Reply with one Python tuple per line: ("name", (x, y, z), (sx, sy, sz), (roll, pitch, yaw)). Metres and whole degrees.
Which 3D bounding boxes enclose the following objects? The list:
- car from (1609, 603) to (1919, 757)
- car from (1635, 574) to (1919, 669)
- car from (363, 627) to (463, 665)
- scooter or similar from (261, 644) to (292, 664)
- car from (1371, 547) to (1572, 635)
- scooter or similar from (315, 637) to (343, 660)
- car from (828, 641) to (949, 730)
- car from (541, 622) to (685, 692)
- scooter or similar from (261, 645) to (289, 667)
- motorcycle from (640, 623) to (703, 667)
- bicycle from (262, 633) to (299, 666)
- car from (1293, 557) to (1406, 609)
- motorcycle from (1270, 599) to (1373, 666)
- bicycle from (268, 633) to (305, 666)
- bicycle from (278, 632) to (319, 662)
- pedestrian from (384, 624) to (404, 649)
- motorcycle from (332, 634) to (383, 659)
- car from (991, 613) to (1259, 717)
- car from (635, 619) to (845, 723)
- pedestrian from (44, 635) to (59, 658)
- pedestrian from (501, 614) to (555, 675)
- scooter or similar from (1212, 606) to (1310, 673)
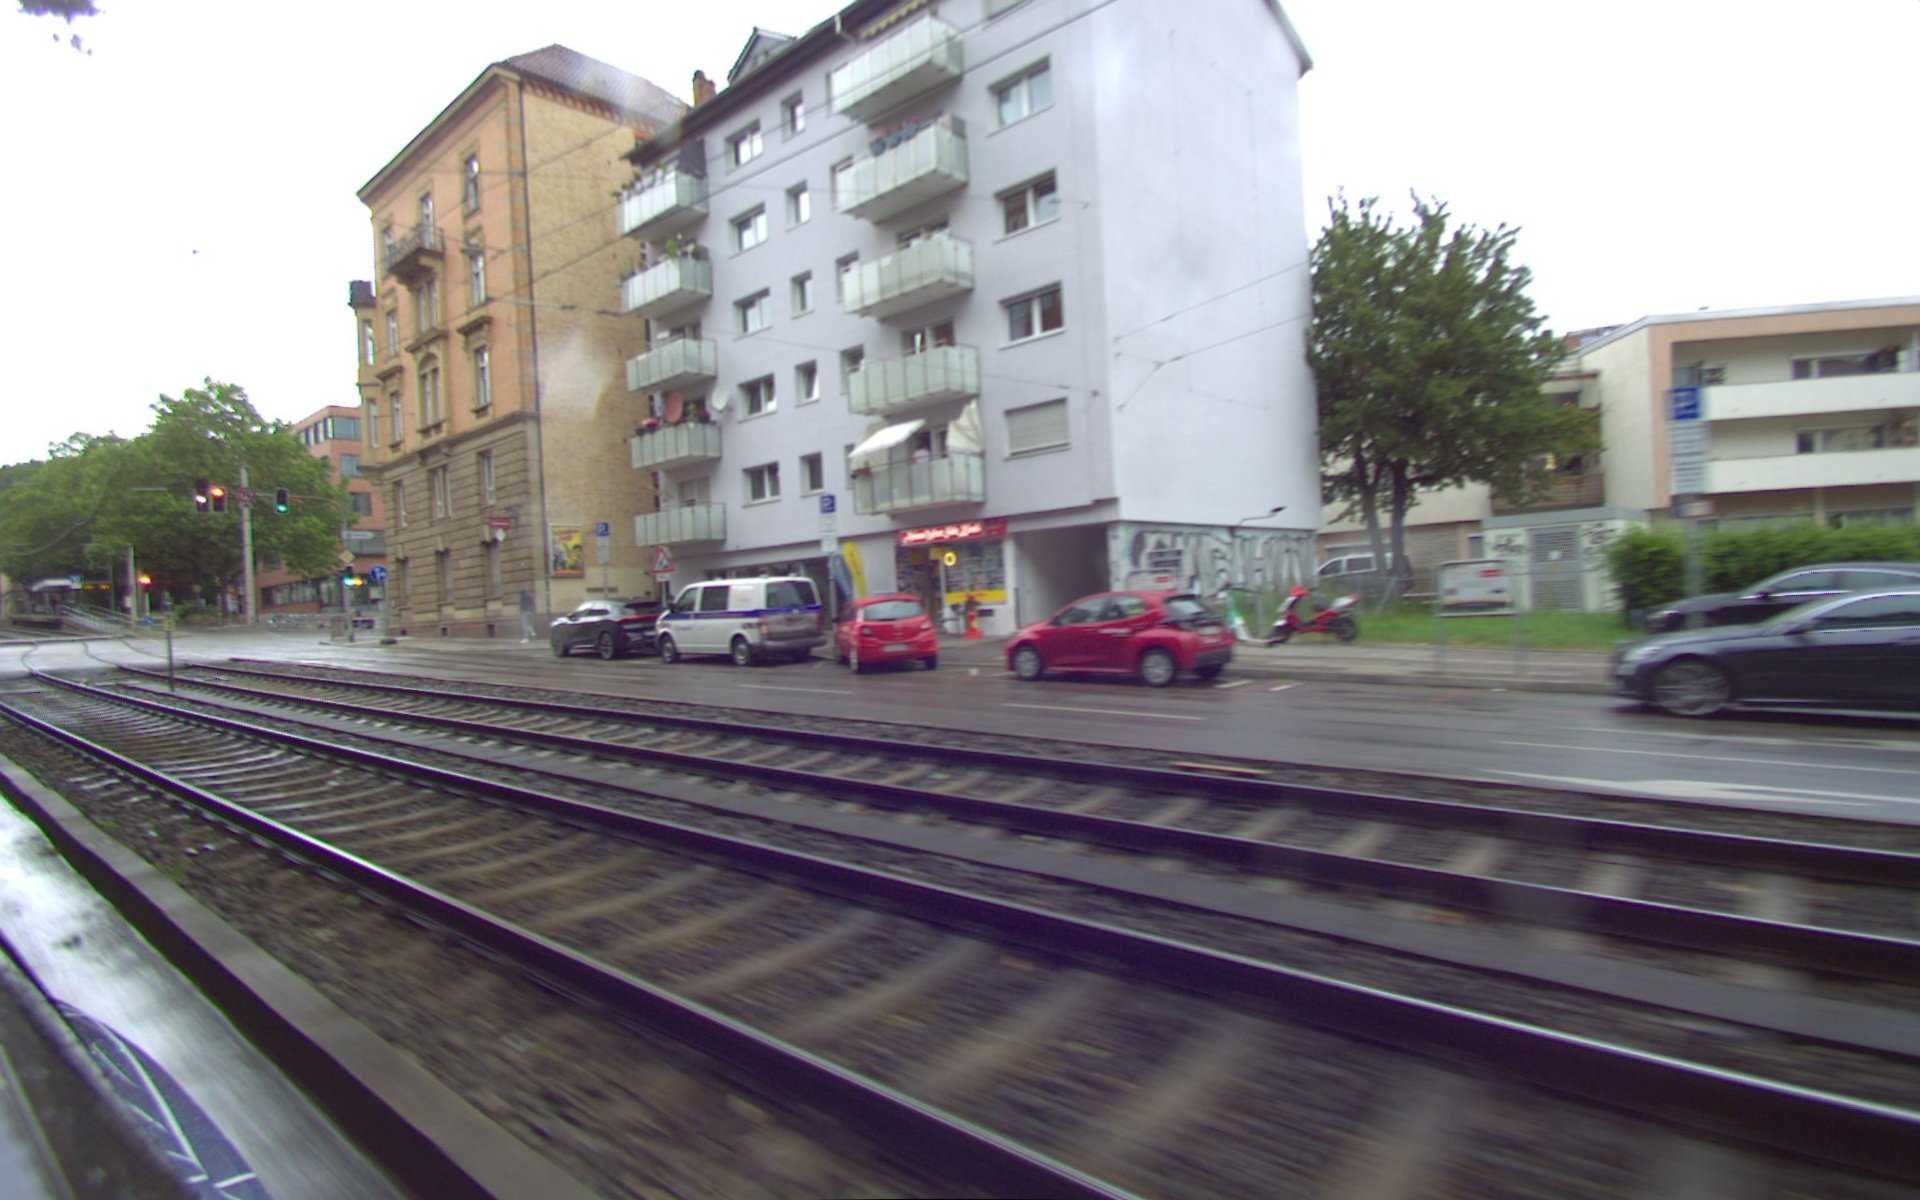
("car", (9.474, 0.764, 10.293), (4.619, 1.406, 1.662), (-3, 0, 41))
("car", (13.432, 0.340, 15.773), (1.848, 1.313, 4.483), (-3, -1, -41))
("car", (-25.968, 2.175, 48.150), (1.774, 1.550, 3.753), (-2, 0, 34))
("scooter or similar", (-45.765, 3.587, 67.768), (0.475, 1.203, 1.706), (-3, 0, 21))
("car", (12.464, -0.168, 24.808), (3.999, 1.836, 1.668), (-5, -3, 43))
("scooter or similar", (-40.160, 3.065, 64.421), (0.450, 1.381, 1.494), (-3, 0, 25))
("car", (-1.599, 1.692, 21.140), (1.756, 1.444, 3.993), (-3, 0, -14))
("car", (-9.531, 1.546, 27.639), (4.362, 1.663, 1.715), (-3, 1, 42))
("scooter or similar", (-46.219, 3.749, 68.268), (0.450, 1.381, 1.494), (-3, 0, 25))
("motorcycle", (-9.818, 1.520, 34.387), (2.308, 1.386, 0.919), (-3, 0, 42))
("bicycle", (-44.824, 3.249, 66.744), (0.517, 2.028, 1.874), (-3, 1, 35))
("car", (16.462, -0.718, 42.847), (4.044, 1.877, 1.699), (-4, 0, 39))
("motorcycle", (7.126, 0.628, 19.999), (1.783, 1.209, 0.633), (-1, 4, 41))
("bicycle", (-44.005, 3.211, 66.175), (0.517, 2.028, 1.874), (-3, 1, 35))
("bicycle", (-42.399, 3.009, 64.922), (0.555, 1.710, 2.073), (0, 3, 35))
("pedestrian", (-39.502, 2.550, 70.628), (1.008, 1.743, 0.887), (-3, 0, 42))
("motorcycle", (-38.091, 2.933, 64.047), (0.864, 1.381, 2.627), (-2, 0, 35))
("car", (2.634, 1.034, 16.725), (4.071, 1.462, 1.637), (-3, 0, 40))
("car", (-5.336, 1.642, 24.093), (5.300, 2.023, 2.049), (-4, 2, 42))
("pedestrian", (-83.370, 4.267, 92.826), (0.883, 2.078, 0.827), (-3, 0, 38))
("pedestrian", (-14.576, 1.487, 34.151), (1.175, 1.943, 1.162), (-3, 0, 34))
("scooter or similar", (5.906, 0.766, 19.971), (0.614, 1.209, 1.900), (-5, 1, -28))
